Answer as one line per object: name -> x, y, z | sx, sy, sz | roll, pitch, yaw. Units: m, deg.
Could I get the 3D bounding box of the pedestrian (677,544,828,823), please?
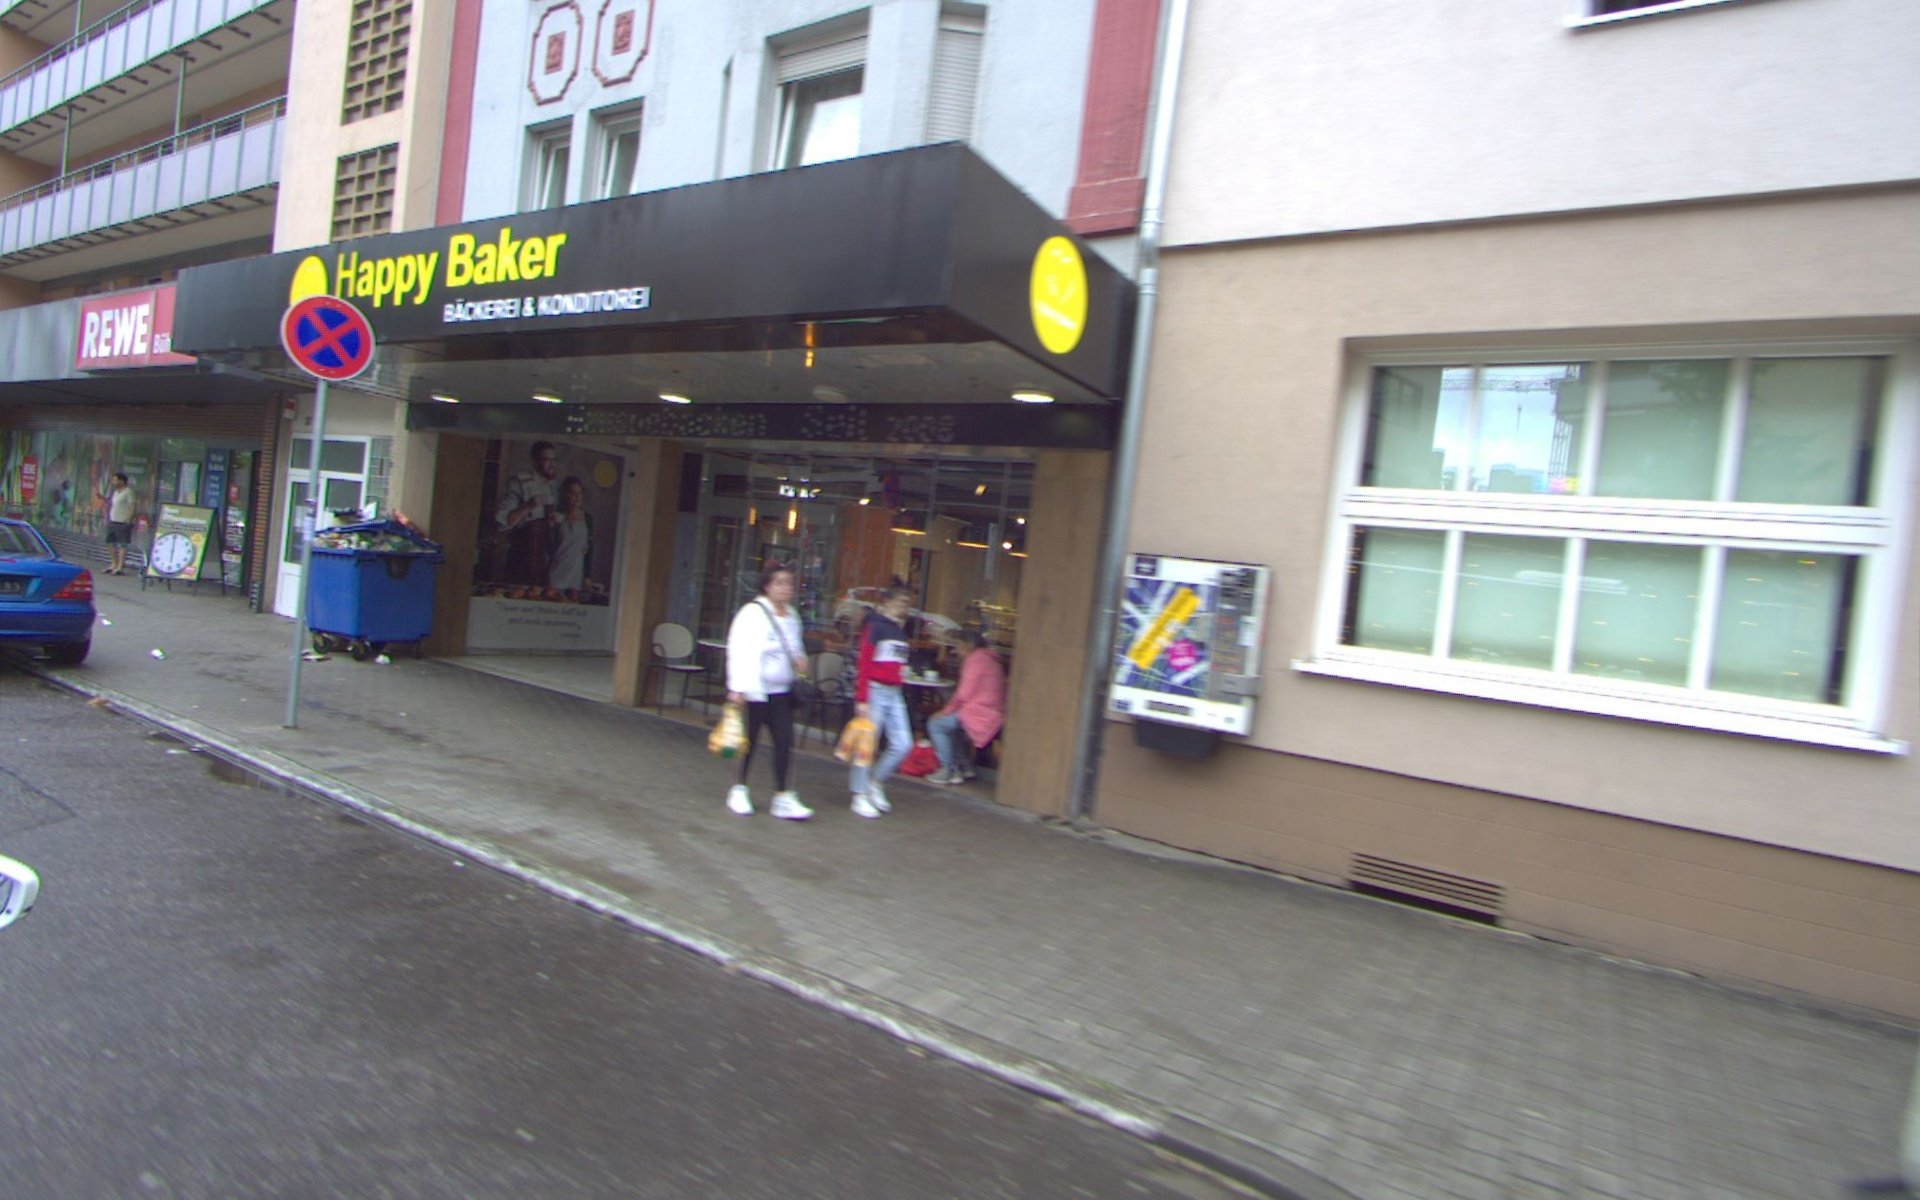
pedestrian -> -1.358, 0.510, 6.483 | 0.694, 1.669, 0.778 | 4, 3, -23

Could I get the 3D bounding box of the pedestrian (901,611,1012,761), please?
pedestrian -> -0.029, 0.778, 9.390 | 0.647, 1.275, 0.701 | 7, 3, 33

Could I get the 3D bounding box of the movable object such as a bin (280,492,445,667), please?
movable object such as a bin -> -6.754, -0.226, 11.383 | 1.274, 1.816, 1.000 | 6, 1, 31

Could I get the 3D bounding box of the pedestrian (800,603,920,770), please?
pedestrian -> -0.840, 0.705, 8.437 | 0.649, 1.275, 0.621 | 8, 4, 40

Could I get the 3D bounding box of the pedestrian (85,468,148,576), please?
pedestrian -> -15.503, -1.427, 18.497 | 0.716, 1.882, 0.596 | 6, 0, 36

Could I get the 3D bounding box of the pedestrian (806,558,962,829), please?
pedestrian -> -0.531, 0.599, 6.716 | 0.694, 1.669, 0.778 | 4, 3, -23

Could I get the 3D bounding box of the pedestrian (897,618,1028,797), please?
pedestrian -> 0.026, 0.815, 7.940 | 0.647, 1.275, 0.701 | 7, 3, 33

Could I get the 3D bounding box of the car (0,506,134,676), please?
car -> -9.426, -0.238, 9.240 | 3.705, 1.326, 1.736 | 7, 0, 33
